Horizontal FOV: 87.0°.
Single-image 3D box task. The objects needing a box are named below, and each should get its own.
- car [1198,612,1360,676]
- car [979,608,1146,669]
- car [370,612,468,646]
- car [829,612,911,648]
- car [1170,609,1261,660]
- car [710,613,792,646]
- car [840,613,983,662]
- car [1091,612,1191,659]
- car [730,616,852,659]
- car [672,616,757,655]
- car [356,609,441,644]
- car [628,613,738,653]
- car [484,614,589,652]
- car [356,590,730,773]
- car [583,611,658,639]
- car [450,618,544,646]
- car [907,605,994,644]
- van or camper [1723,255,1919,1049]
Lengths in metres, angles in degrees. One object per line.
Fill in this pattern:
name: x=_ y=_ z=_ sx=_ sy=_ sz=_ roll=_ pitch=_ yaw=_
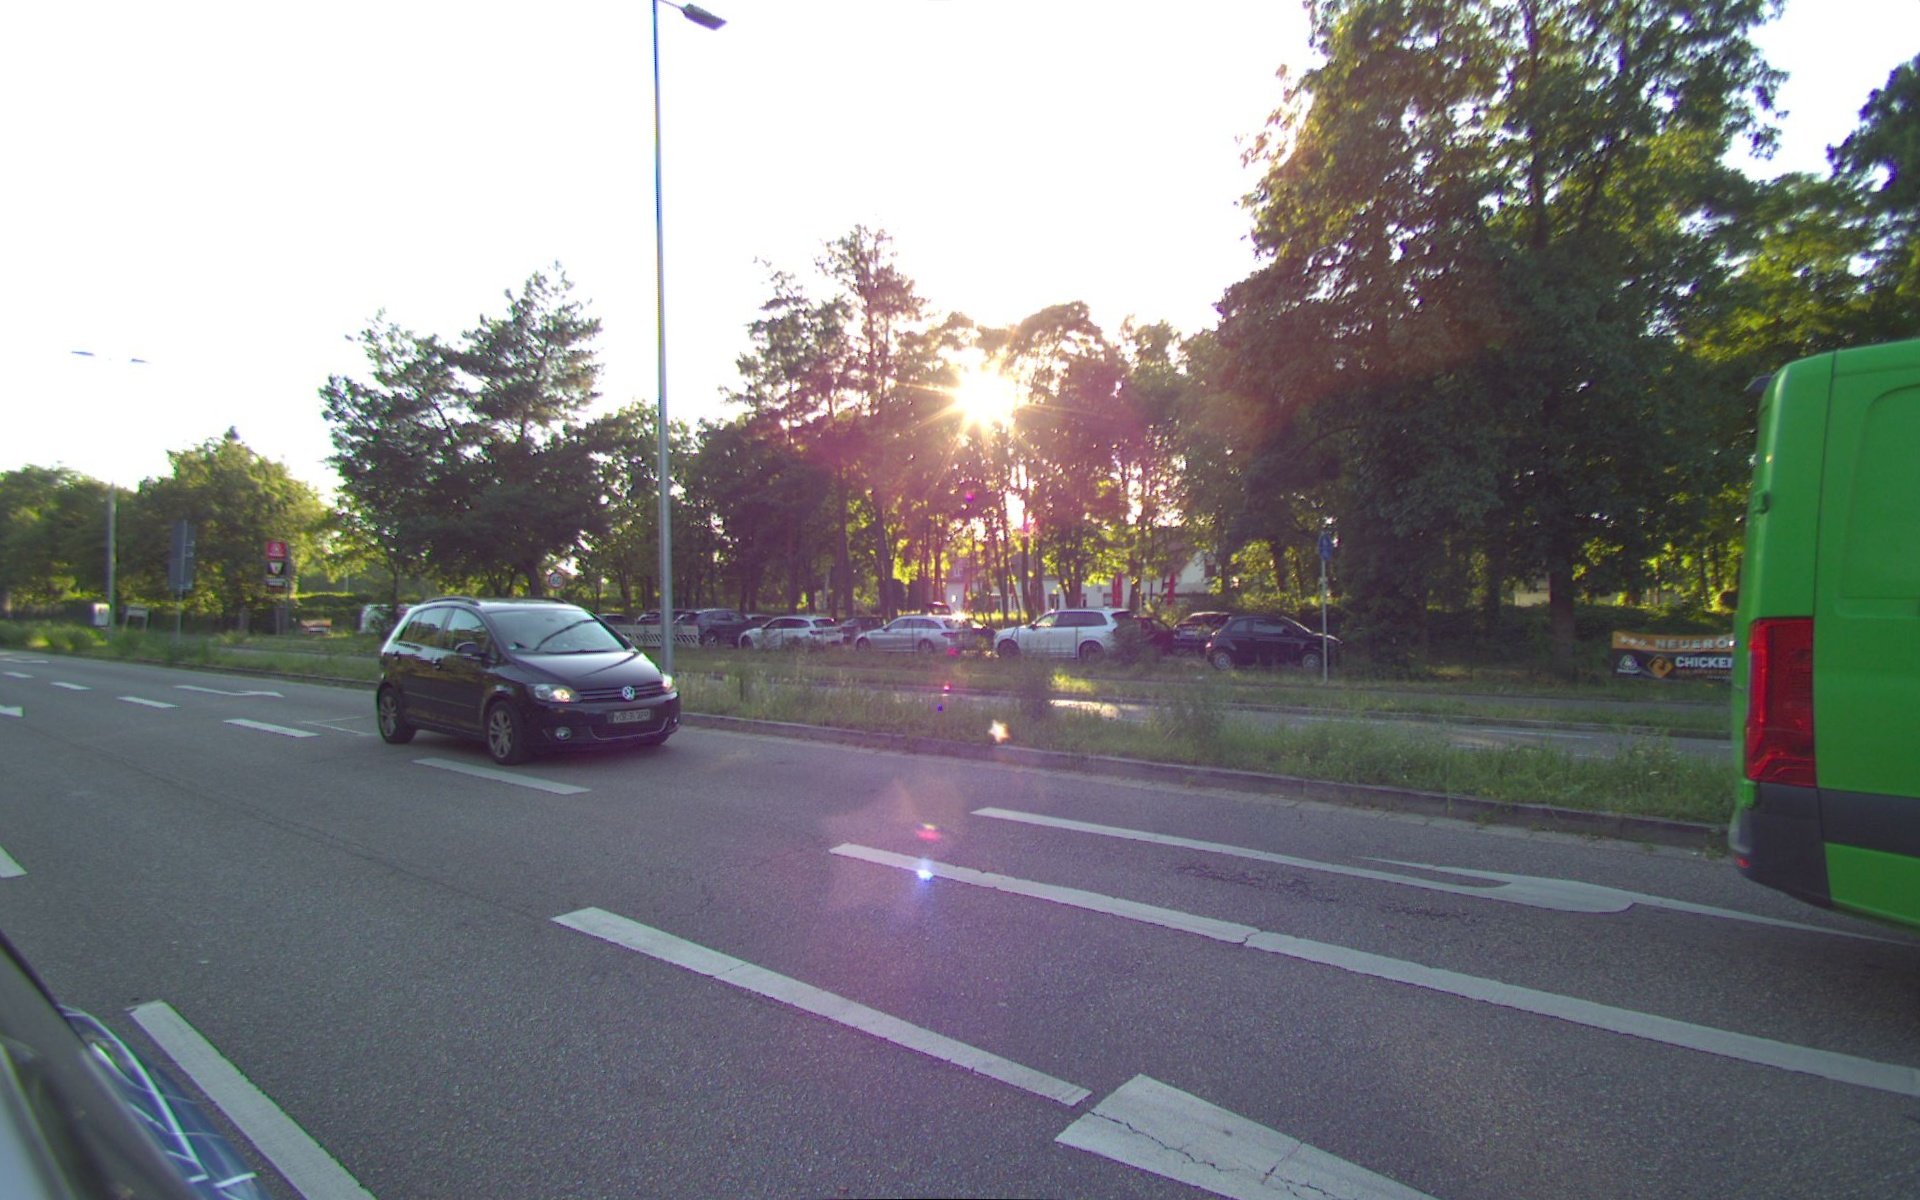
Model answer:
car: x=8.572 y=1.147 z=27.261 sx=3.807 sy=1.609 sz=1.838 roll=-1 pitch=-2 yaw=36
car: x=3.172 y=1.177 z=31.817 sx=4.913 sy=1.800 sz=1.975 roll=-1 pitch=-2 yaw=37
car: x=-30.252 y=1.606 z=56.676 sx=1.907 sy=1.811 sz=4.443 roll=-1 pitch=-2 yaw=38
car: x=-4.322 y=1.450 z=49.058 sx=1.765 sy=1.663 sz=3.947 roll=-1 pitch=-2 yaw=39
car: x=8.999 y=1.174 z=35.455 sx=1.914 sy=1.663 sz=3.954 roll=-1 pitch=-1 yaw=34
car: x=-10.904 y=1.521 z=52.960 sx=1.765 sy=1.663 sz=3.947 roll=-1 pitch=-2 yaw=40
car: x=-1.747 y=1.286 z=35.603 sx=4.913 sy=1.619 sz=1.975 roll=-1 pitch=-2 yaw=37
car: x=6.821 y=1.312 z=37.858 sx=1.918 sy=1.663 sz=3.944 roll=-1 pitch=-2 yaw=42
car: x=-6.606 y=1.415 z=39.306 sx=4.701 sy=1.560 sz=1.975 roll=-1 pitch=-2 yaw=37
car: x=-10.013 y=1.414 z=41.402 sx=1.657 sy=1.538 sz=3.060 roll=-1 pitch=-2 yaw=38
car: x=-32.535 y=1.517 z=58.686 sx=1.764 sy=1.959 sz=3.949 roll=-1 pitch=-2 yaw=38
car: x=-11.975 y=1.417 z=43.946 sx=1.769 sy=1.629 sz=4.470 roll=-1 pitch=-2 yaw=37
car: x=-20.805 y=1.622 z=49.855 sx=1.908 sy=1.767 sz=4.441 roll=-1 pitch=-2 yaw=39
car: x=-4.485 y=0.742 z=10.684 sx=3.995 sy=1.564 sz=1.974 roll=-1 pitch=-2 yaw=39
car: x=-20.499 y=1.506 z=61.249 sx=1.765 sy=1.663 sz=3.947 roll=-1 pitch=-2 yaw=40
car: x=-23.107 y=1.581 z=50.600 sx=1.731 sy=1.322 sz=3.947 roll=-1 pitch=-2 yaw=39
car: x=-0.387 y=1.103 z=45.124 sx=1.765 sy=1.663 sz=3.947 roll=-1 pitch=-2 yaw=39
van or camper: x=5.470 y=0.136 z=2.276 sx=5.891 sy=2.439 sz=1.973 roll=-1 pitch=-2 yaw=40
